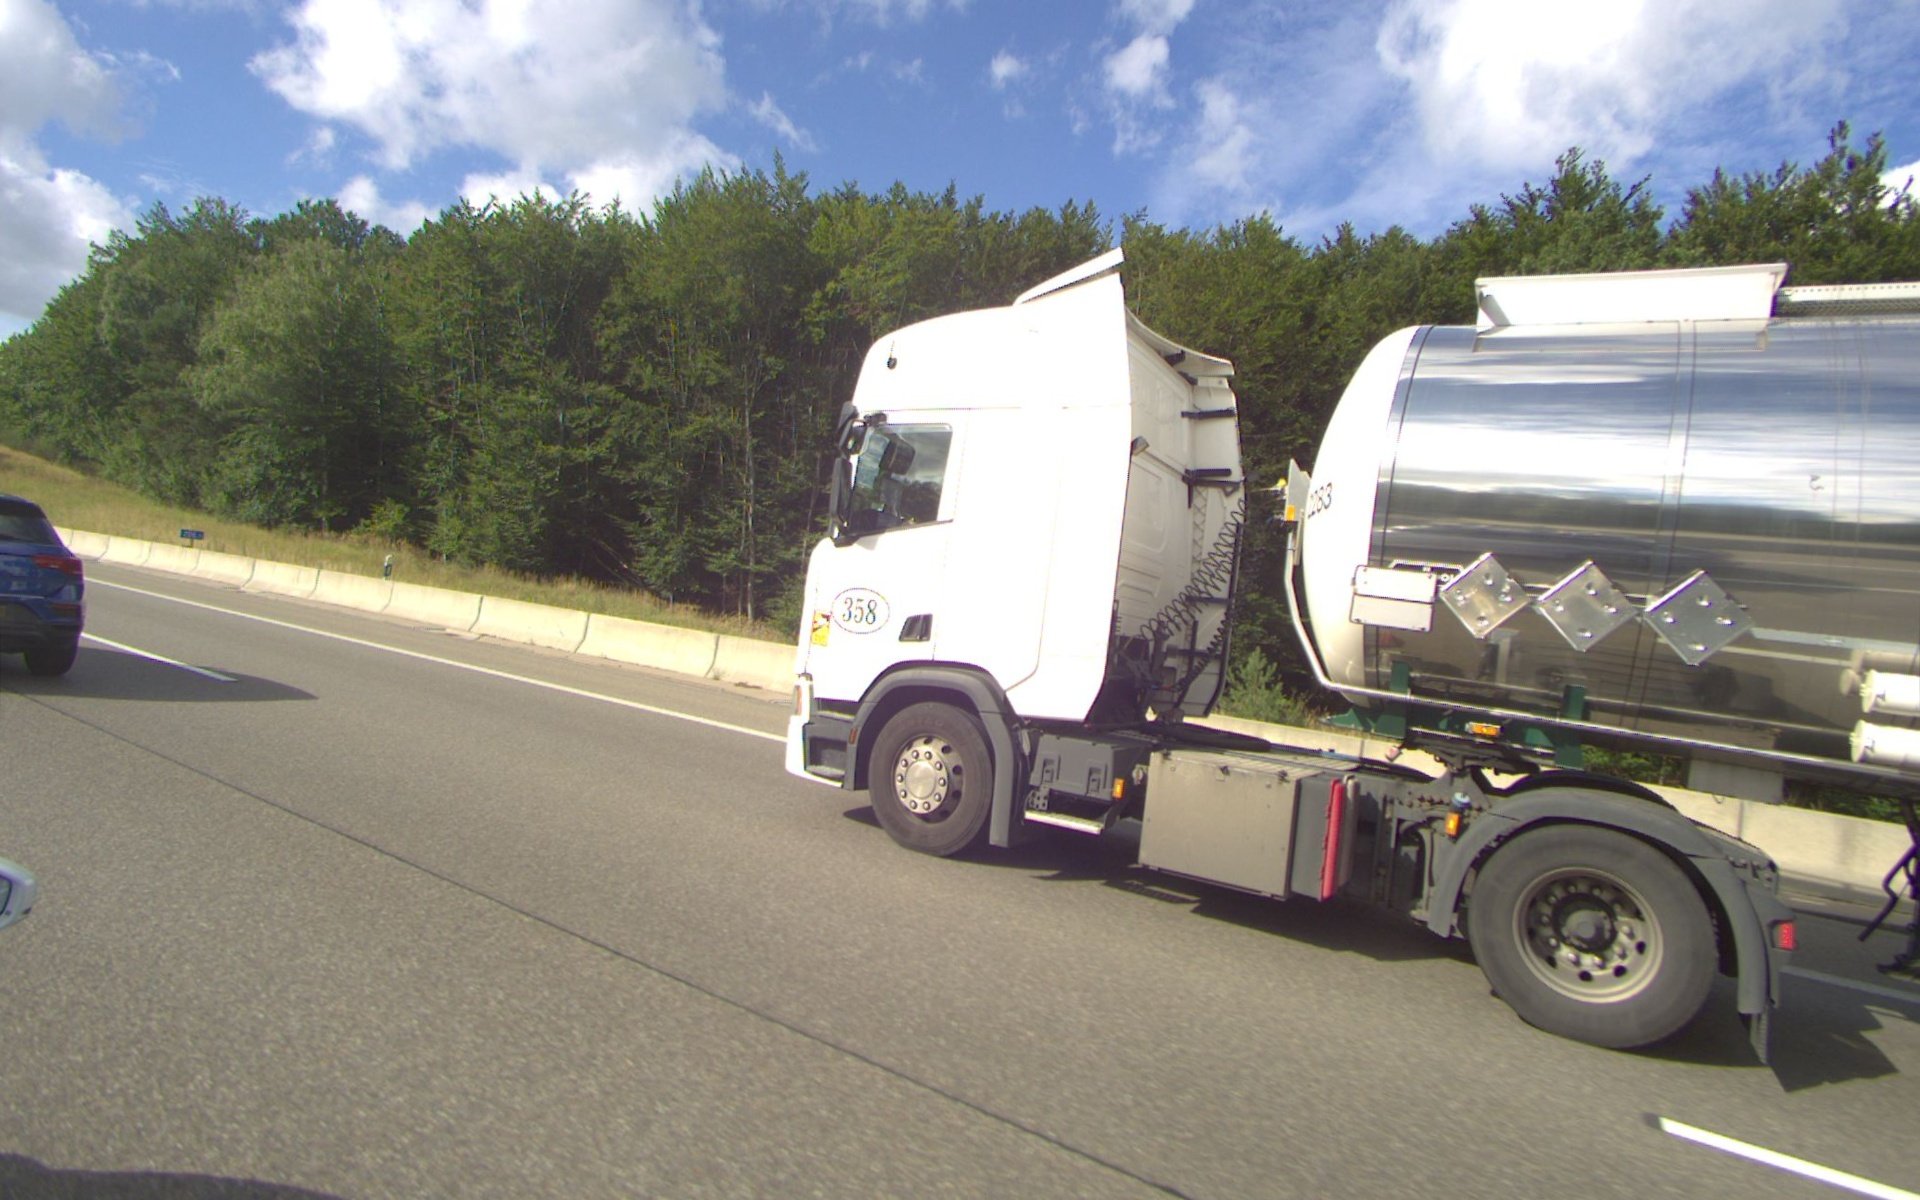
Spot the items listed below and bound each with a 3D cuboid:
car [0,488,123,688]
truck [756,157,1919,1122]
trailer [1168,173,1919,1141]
[{"bbox_3d":[-9.416,-0.316,8.916,4.385,1.548,1.775,7,-1,33],"label":"car"},{"bbox_3d":[1.970,-0.041,6.700,5.981,3.870,2.652,7,0,32],"label":"truck"},{"bbox_3d":[6.958,0.587,3.554,11.664,3.813,2.652,7,0,32],"label":"trailer"}]
